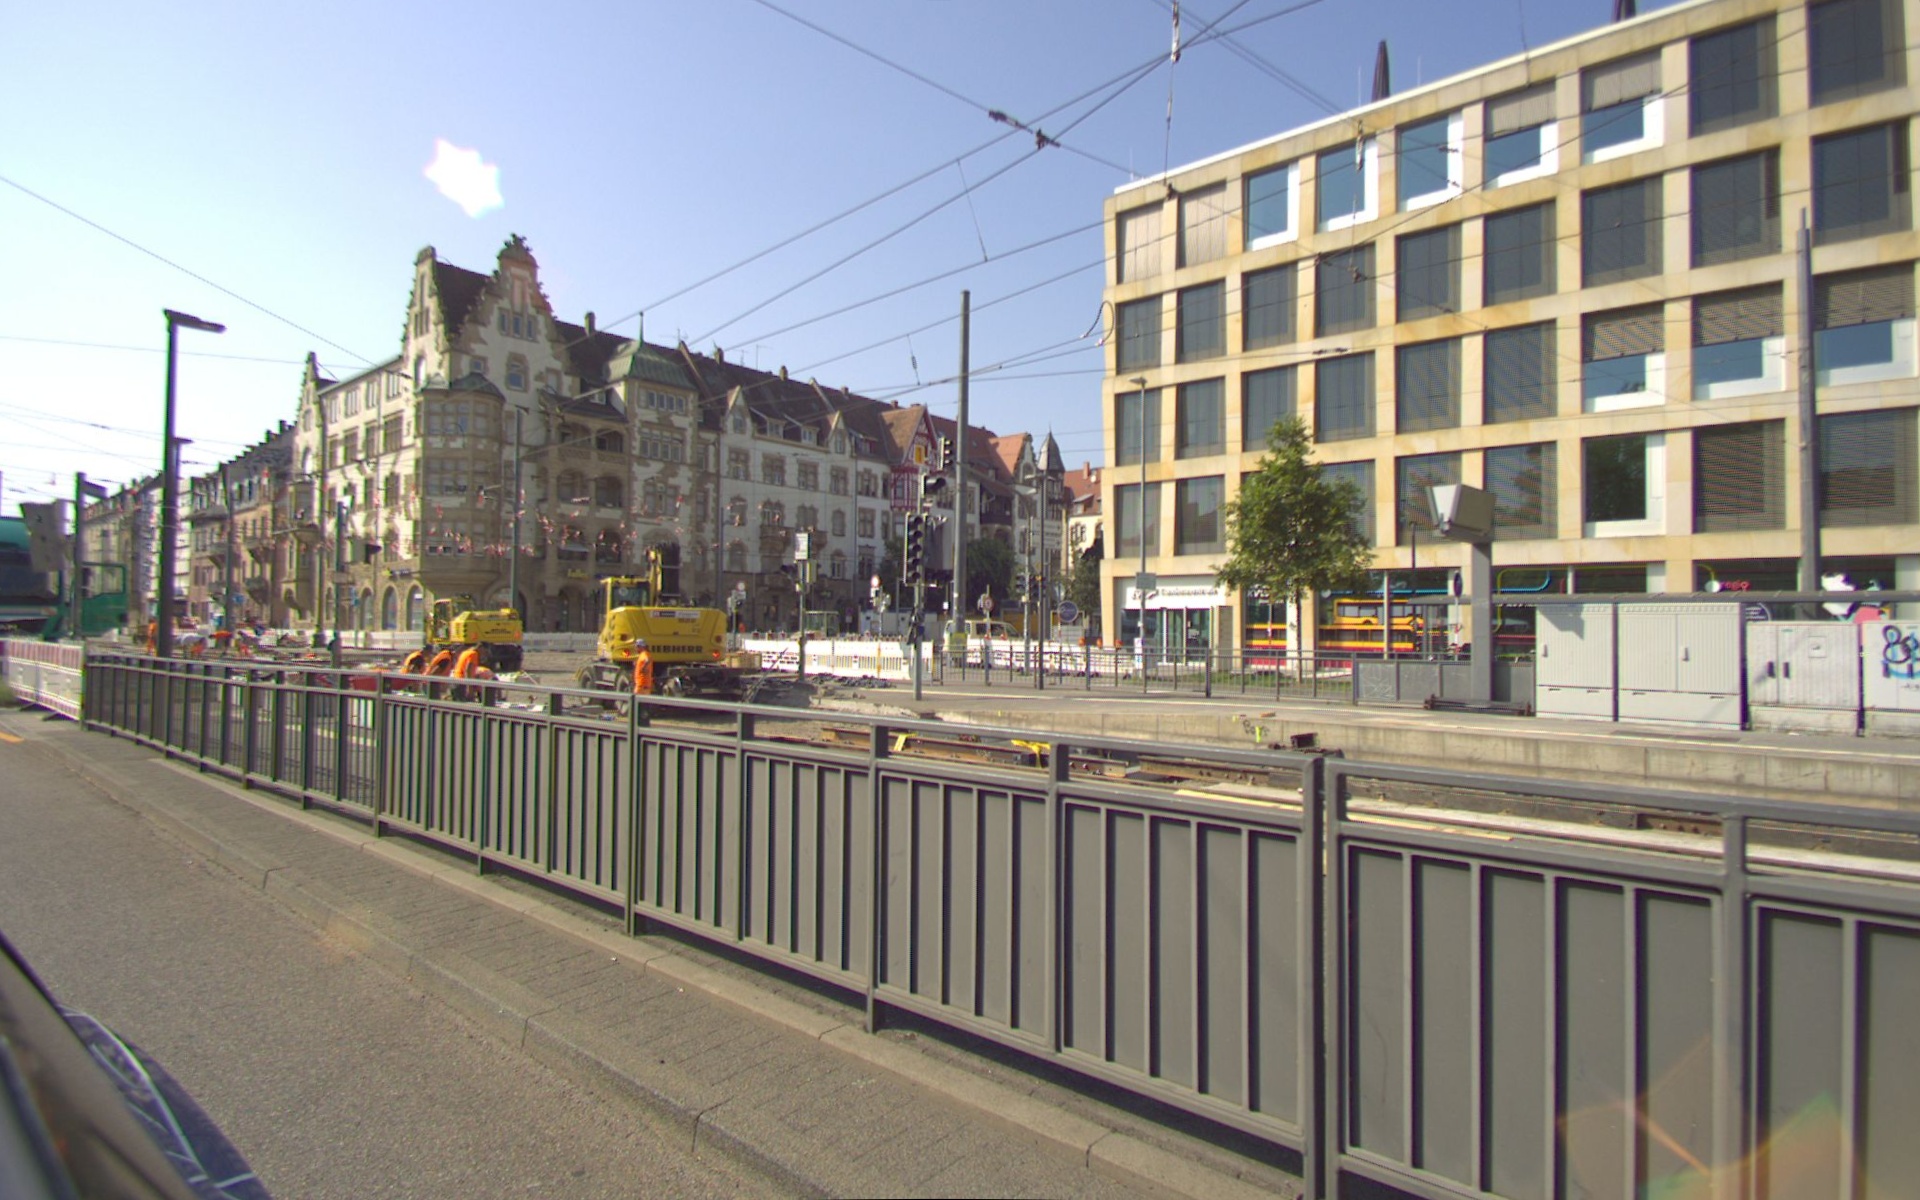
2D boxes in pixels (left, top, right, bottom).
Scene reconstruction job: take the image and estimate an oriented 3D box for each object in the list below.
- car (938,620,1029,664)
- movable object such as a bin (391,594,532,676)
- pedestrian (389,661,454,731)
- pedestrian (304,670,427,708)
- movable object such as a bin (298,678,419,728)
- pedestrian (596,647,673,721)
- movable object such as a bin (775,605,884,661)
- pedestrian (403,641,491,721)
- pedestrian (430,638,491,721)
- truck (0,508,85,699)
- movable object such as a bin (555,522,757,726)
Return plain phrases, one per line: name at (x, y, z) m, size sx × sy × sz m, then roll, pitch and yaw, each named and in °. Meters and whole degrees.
car at (1.226, 2.087, 49.565) m, size 1.814 × 2.046 × 5.054 m, roll -2°, pitch -3°, yaw 37°
movable object such as a bin at (-22.295, 1.556, 45.046) m, size 8.346 × 3.355 × 2.815 m, roll -1°, pitch -3°, yaw 43°
pedestrian at (-9.757, 1.725, 18.379) m, size 0.968 × 1.199 × 0.801 m, roll 1°, pitch -3°, yaw -24°
pedestrian at (-11.508, 1.708, 19.611) m, size 0.913 × 0.641 × 1.880 m, roll -2°, pitch -3°, yaw 45°
movable object such as a bin at (-8.883, 1.514, 15.017) m, size 1.484 × 0.657 × 0.703 m, roll 1°, pitch -3°, yaw -28°
pedestrian at (-6.025, 1.525, 18.710) m, size 0.983 × 1.316 × 1.003 m, roll -2°, pitch -4°, yaw 45°
movable object such as a bin at (-6.604, 1.705, 51.943) m, size 2.134 × 2.760 × 5.554 m, roll -1°, pitch -3°, yaw 41°
pedestrian at (-8.784, 1.370, 17.393) m, size 1.293 × 1.316 × 0.801 m, roll 1°, pitch -3°, yaw -24°
pedestrian at (-8.122, 1.276, 16.488) m, size 0.825 × 1.316 × 0.801 m, roll 1°, pitch -3°, yaw -24°
truck at (-22.163, 0.134, 21.857) m, size 8.188 × 3.706 × 2.653 m, roll -1°, pitch -3°, yaw 33°
movable object such as a bin at (-7.801, 0.682, 24.851) m, size 3.454 × 4.044 × 9.070 m, roll 2°, pitch -3°, yaw -25°
